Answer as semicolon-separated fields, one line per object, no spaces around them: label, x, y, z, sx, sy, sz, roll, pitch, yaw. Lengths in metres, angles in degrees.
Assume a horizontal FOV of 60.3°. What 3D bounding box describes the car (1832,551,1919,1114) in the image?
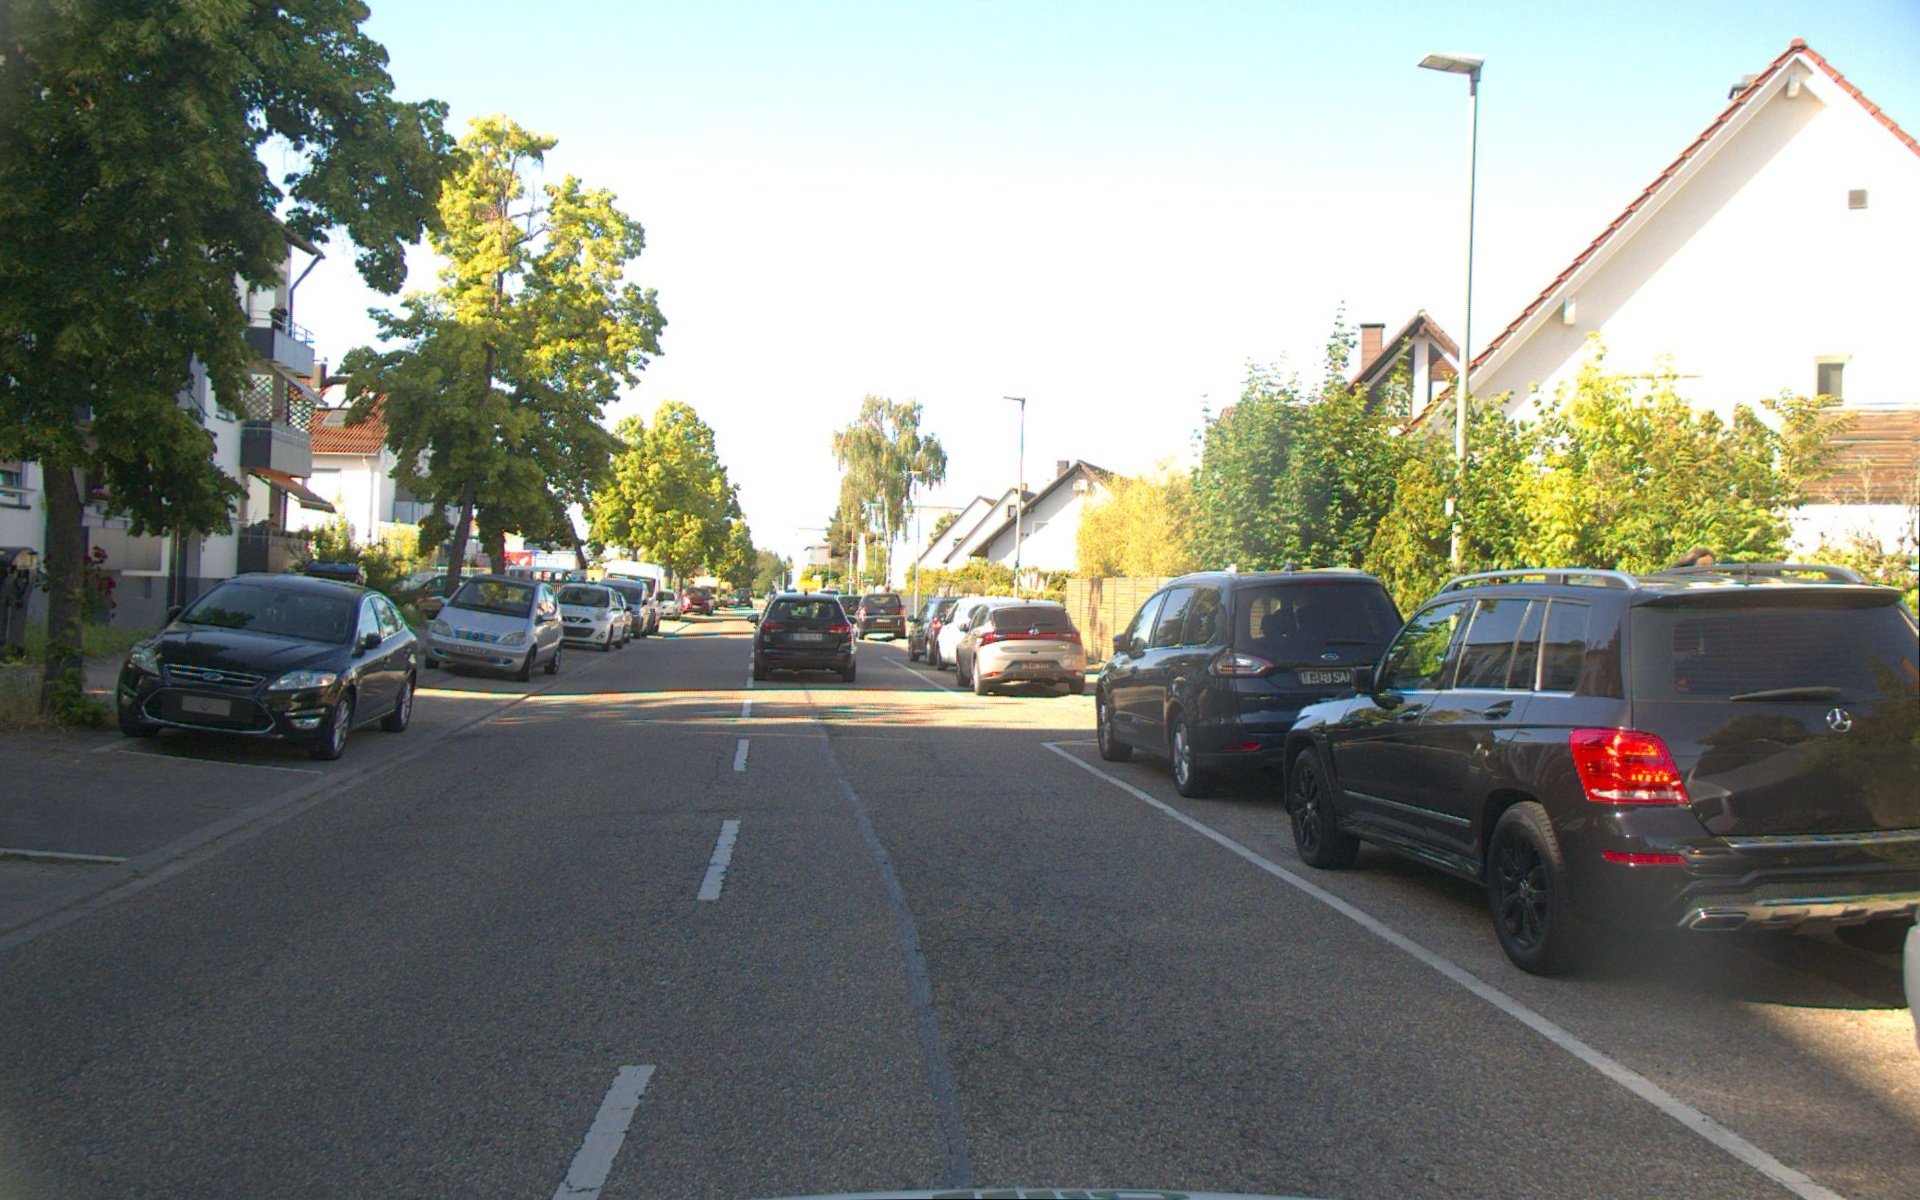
car;3.617;0.688;2.819;1.727;1.591;4.661;2;0;-1

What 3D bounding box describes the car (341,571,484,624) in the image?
car;-17.707;-0.052;53.680;1.581;1.540;4.375;2;0;33

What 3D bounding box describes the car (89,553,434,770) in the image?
car;-6.251;0.480;15.397;1.691;1.519;4.535;7;-1;-8

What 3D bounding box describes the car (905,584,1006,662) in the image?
car;-0.153;0.491;37.942;1.627;1.628;3.807;3;0;-10

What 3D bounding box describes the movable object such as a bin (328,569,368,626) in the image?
movable object such as a bin;-14.265;-0.059;38.579;0.673;1.301;0.671;2;0;-4

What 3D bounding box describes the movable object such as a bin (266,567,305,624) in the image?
movable object such as a bin;-15.678;-0.106;38.467;0.626;1.301;0.671;2;0;-4

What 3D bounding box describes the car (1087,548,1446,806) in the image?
car;2.411;0.551;14.221;1.710;1.845;4.422;2;0;-8

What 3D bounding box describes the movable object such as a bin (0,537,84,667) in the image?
movable object such as a bin;-12.015;0.002;20.819;1.265;1.570;1.326;2;0;-5

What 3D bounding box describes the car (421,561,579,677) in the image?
car;-7.688;0.303;27.996;1.689;1.620;3.905;7;-1;-5

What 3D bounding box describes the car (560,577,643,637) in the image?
car;-9.981;0.186;46.358;1.578;1.460;4.309;5;0;-4

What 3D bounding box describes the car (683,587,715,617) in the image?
car;-17.038;0.139;108.008;1.769;1.783;4.335;4;0;-7

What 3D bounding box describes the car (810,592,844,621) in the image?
car;-7.503;0.343;93.050;1.686;1.531;3.558;2;0;-7

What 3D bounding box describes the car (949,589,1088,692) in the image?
car;0.888;0.609;27.153;1.611;1.520;3.882;2;0;-8

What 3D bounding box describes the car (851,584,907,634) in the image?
car;-2.960;0.303;59.671;1.741;1.687;4.298;3;0;-6

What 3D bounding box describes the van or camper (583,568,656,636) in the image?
van or camper;-11.029;0.057;53.802;1.842;2.049;4.273;3;0;-6

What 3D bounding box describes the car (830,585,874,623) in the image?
car;-5.189;0.174;79.092;1.743;1.687;3.809;3;0;-9

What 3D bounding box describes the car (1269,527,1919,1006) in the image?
car;3.063;0.599;8.175;1.729;1.705;4.387;2;0;-7

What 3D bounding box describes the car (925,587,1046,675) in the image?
car;0.448;0.582;33.594;1.693;1.628;3.807;3;0;-10

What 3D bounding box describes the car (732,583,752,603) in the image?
car;-22.206;-0.711;168.560;1.858;2.067;4.811;0;0;-7

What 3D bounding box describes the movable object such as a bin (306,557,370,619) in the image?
movable object such as a bin;-15.681;-0.297;41.727;1.207;1.508;1.115;2;0;-5

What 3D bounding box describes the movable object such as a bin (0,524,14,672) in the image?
movable object such as a bin;-11.637;-0.039;18.478;1.385;1.691;1.266;2;0;-5

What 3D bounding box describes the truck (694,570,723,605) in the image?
truck;-23.506;-1.182;154.841;2.358;3.035;7.232;4;-1;-8

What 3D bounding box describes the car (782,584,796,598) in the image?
car;-23.207;-1.241;224.385;1.882;1.857;4.074;2;0;-7

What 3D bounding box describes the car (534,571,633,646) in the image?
car;-9.080;0.194;40.183;1.660;1.593;3.903;5;0;-4

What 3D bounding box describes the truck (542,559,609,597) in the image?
truck;-36.611;-2.100;157.504;5.550;3.173;2.524;4;0;4

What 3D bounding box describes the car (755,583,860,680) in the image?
car;-2.689;0.510;29.002;1.679;1.559;3.683;2;0;-6

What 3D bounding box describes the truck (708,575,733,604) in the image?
truck;-26.780;-1.121;184.860;2.357;3.035;6.364;4;-1;-7

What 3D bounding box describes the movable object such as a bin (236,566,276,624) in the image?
movable object such as a bin;-16.353;-0.119;38.420;0.626;1.301;0.671;2;0;-4

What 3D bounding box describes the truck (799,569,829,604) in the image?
truck;-12.825;-1.172;144.744;2.357;2.988;7.005;0;0;-7

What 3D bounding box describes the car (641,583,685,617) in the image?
car;-14.491;-0.006;80.905;1.654;1.460;4.204;4;0;-5

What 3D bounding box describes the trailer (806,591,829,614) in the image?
trailer;-10.426;0.179;120.810;1.596;1.565;3.194;2;0;-6

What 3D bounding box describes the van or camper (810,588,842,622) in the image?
van or camper;-8.014;0.269;98.475;1.686;1.923;4.173;2;0;-7

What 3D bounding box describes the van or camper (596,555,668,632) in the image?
van or camper;-11.846;-0.242;59.986;2.083;2.533;5.546;3;0;-8

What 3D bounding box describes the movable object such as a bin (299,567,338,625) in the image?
movable object such as a bin;-14.936;-0.092;38.502;0.626;1.301;0.671;2;0;-4

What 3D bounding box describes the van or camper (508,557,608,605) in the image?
van or camper;-22.167;-1.054;91.254;4.789;2.361;2.245;2;-1;6
